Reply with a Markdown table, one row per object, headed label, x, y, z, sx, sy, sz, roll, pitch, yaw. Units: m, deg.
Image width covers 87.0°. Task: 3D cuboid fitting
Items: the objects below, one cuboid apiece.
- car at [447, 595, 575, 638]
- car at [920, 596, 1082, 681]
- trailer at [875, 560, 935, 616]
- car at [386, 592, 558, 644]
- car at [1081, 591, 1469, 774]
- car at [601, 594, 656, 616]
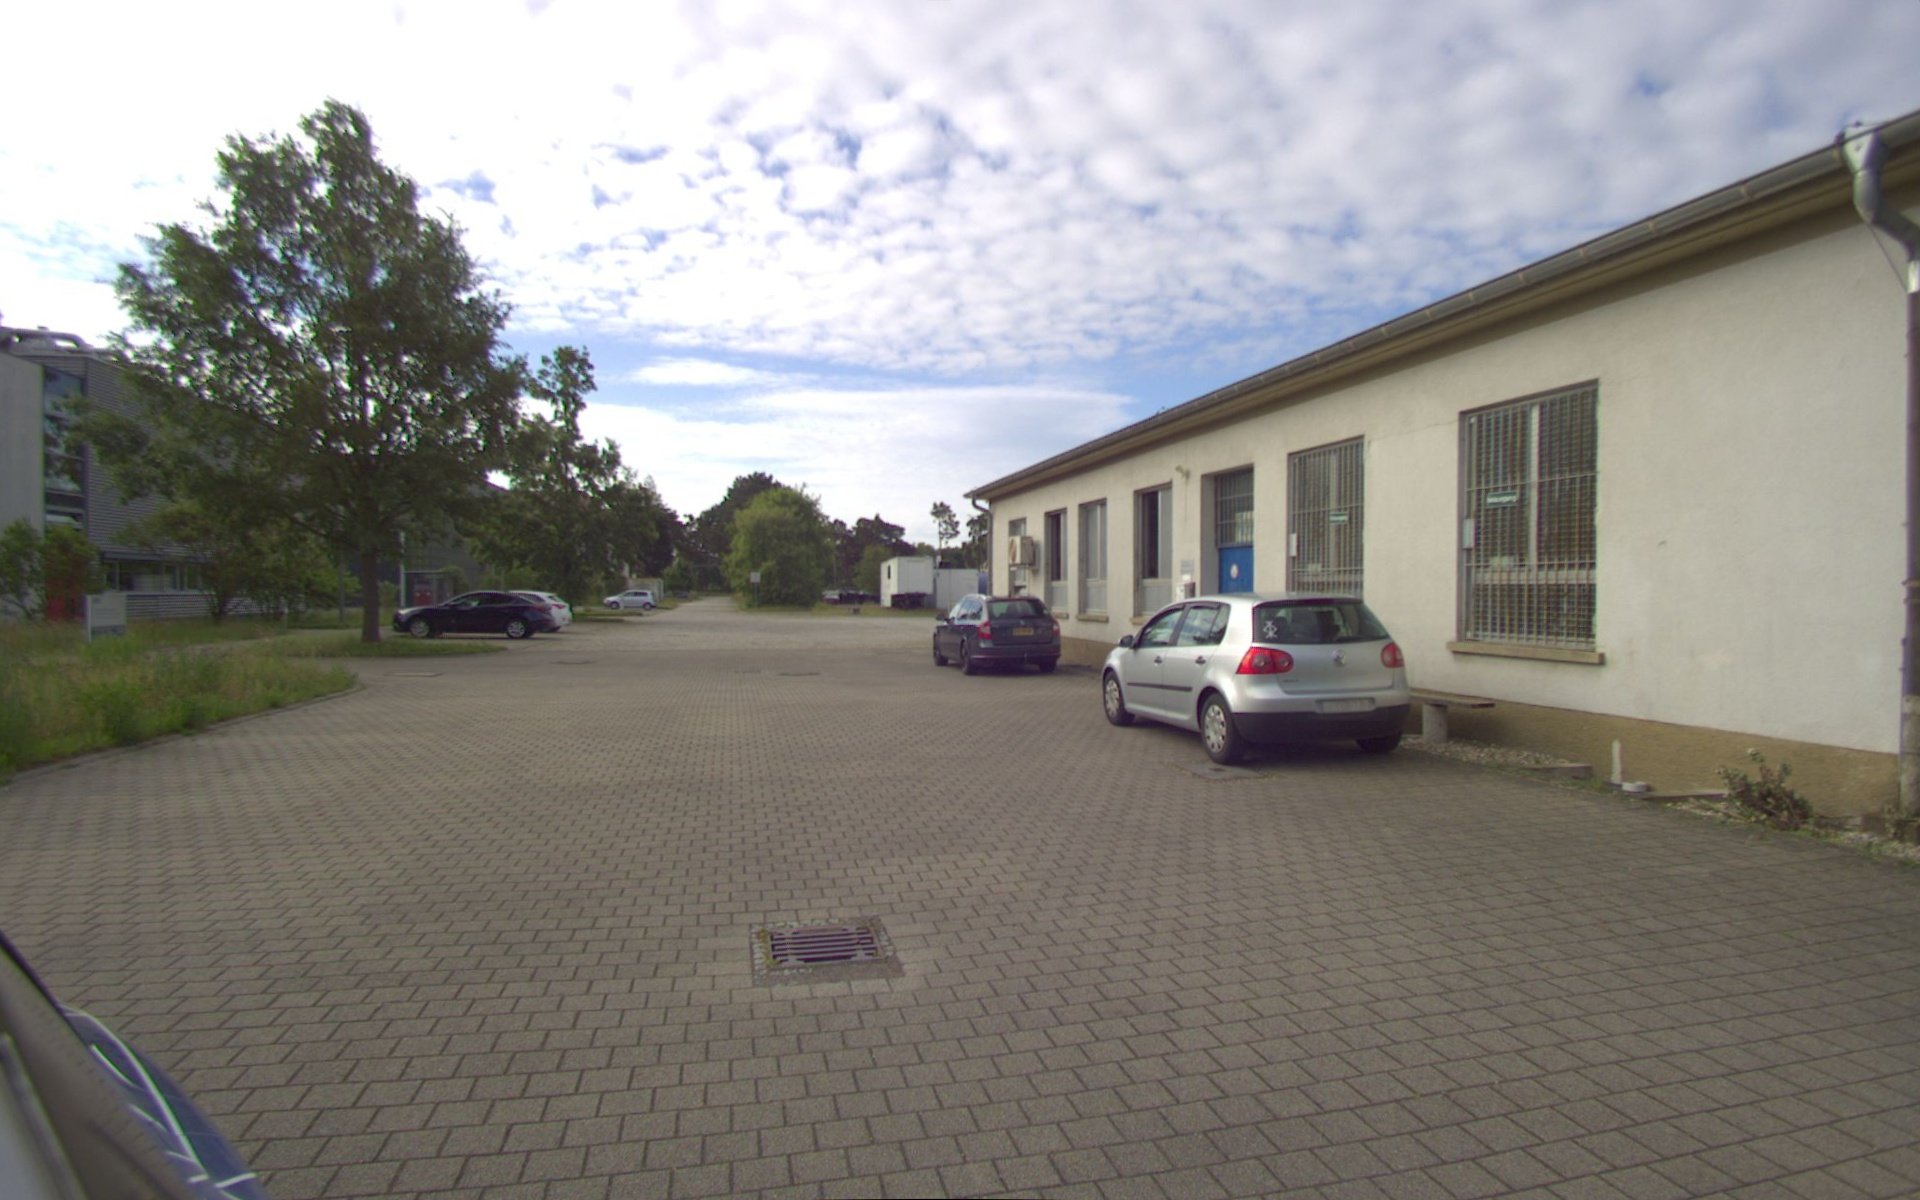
| label | x | y | z | sx | sy | sz | roll | pitch | yaw |
| --- | --- | --- | --- | --- | --- | --- | --- | --- | --- |
| car | -15.998 | 0.572 | 36.255 | 3.922 | 1.477 | 1.887 | 1 | 0 | -13 |
| car | 0.641 | 0.663 | 19.935 | 1.898 | 1.472 | 4.824 | 0 | 0 | -14 |
| trailer | -4.087 | -0.793 | 72.223 | 2.831 | 3.690 | 10.802 | 0 | 0 | -11 |
| car | -14.855 | 0.544 | 31.052 | 4.403 | 1.458 | 1.949 | 1 | 0 | -13 |
| car | 2.837 | 0.658 | 10.335 | 1.899 | 1.450 | 4.378 | 0 | 0 | -11 |
| car | -26.574 | 0.392 | 81.360 | 4.064 | 1.637 | 1.945 | 2 | 0 | -15 |
